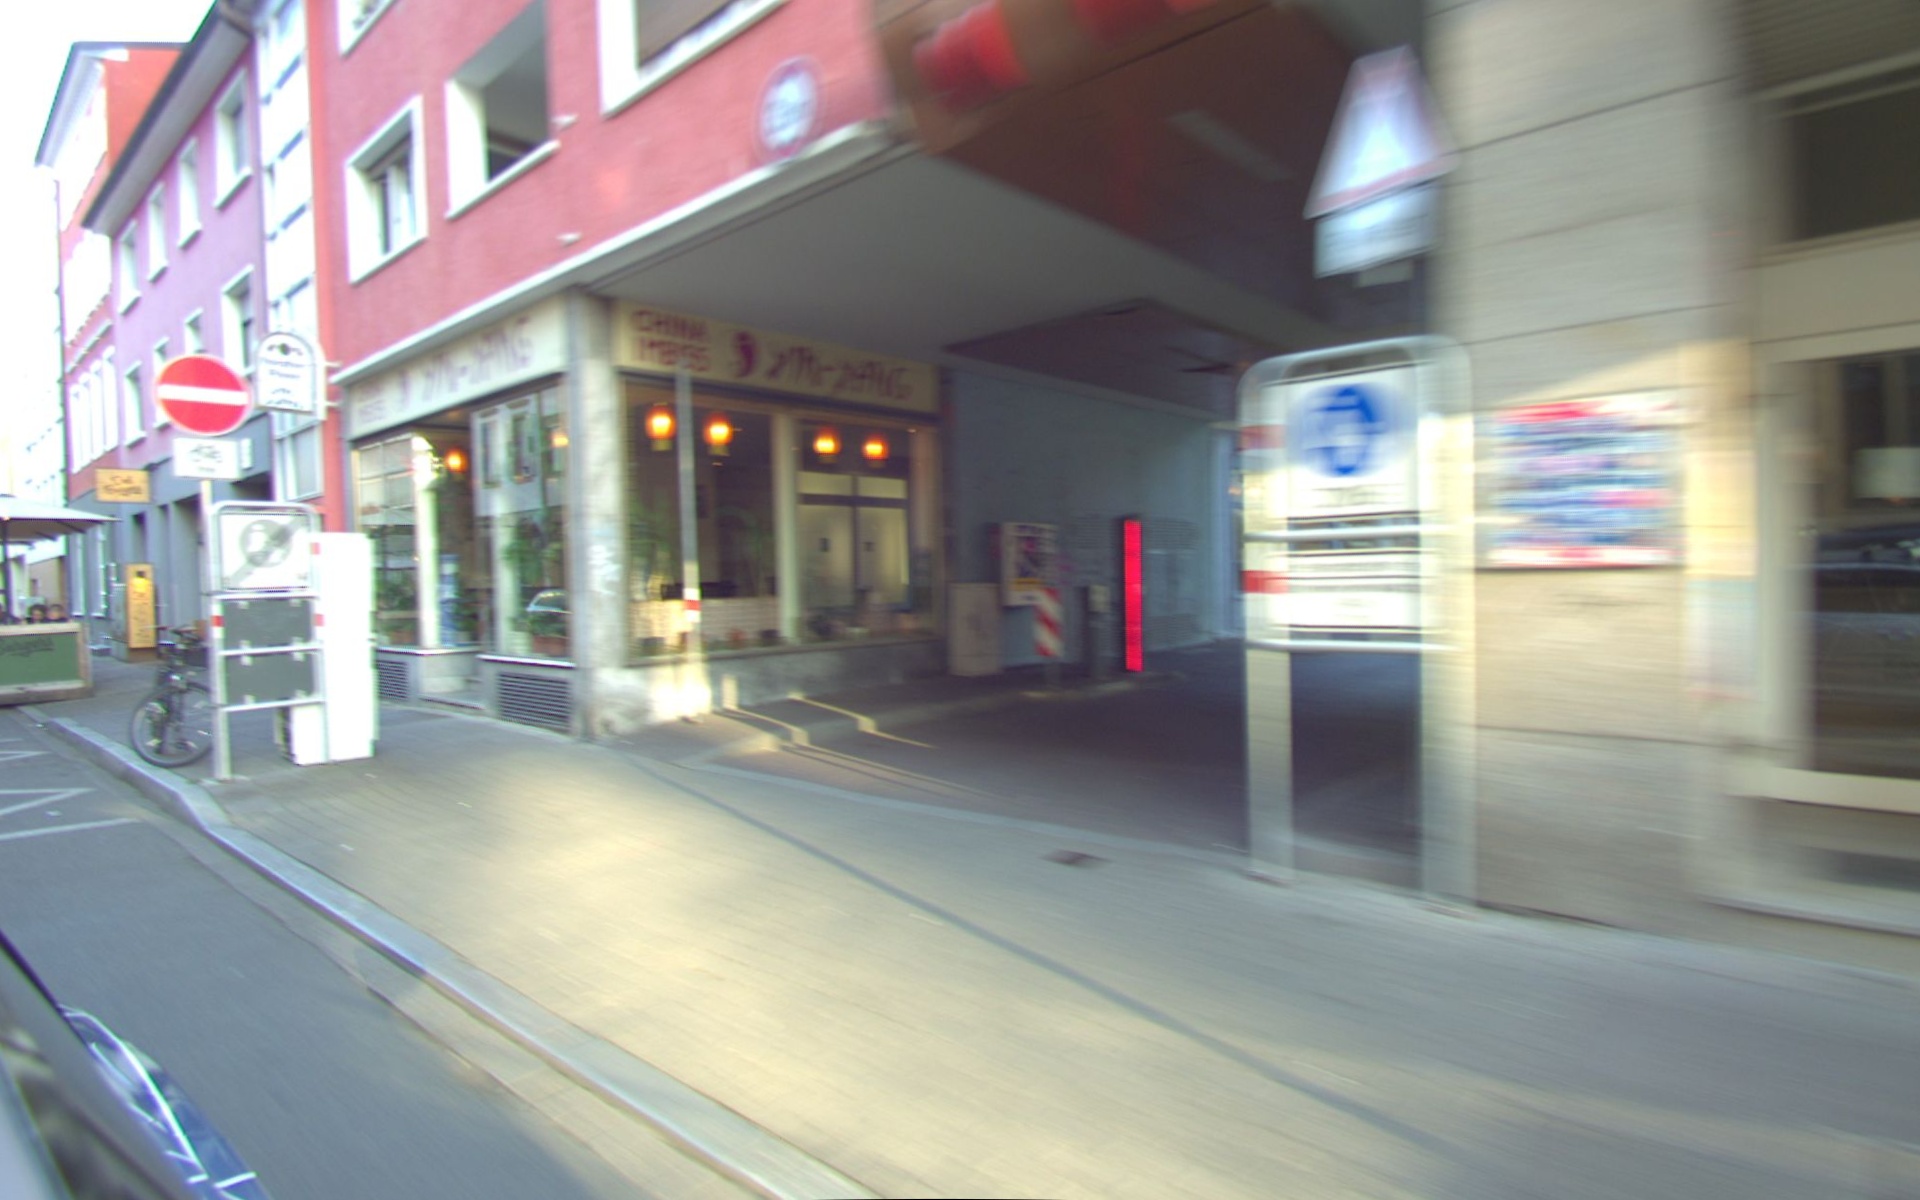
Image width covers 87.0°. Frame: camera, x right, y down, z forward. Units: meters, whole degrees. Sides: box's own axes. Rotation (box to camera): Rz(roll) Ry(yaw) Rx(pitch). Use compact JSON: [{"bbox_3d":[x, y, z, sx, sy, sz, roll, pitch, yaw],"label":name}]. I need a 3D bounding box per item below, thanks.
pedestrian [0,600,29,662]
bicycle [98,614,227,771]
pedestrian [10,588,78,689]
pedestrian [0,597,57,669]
[{"bbox_3d":[-17.004,0.554,17.940,0.546,1.070,0.596,0,2,34],"label":"pedestrian"},{"bbox_3d":[-6.899,0.738,8.727,1.841,1.200,0.538,-1,1,42],"label":"bicycle"},{"bbox_3d":[-13.894,0.568,15.352,0.546,1.483,0.605,0,2,34],"label":"pedestrian"},{"bbox_3d":[-14.658,0.506,15.868,0.546,1.070,0.605,0,2,34],"label":"pedestrian"}]
